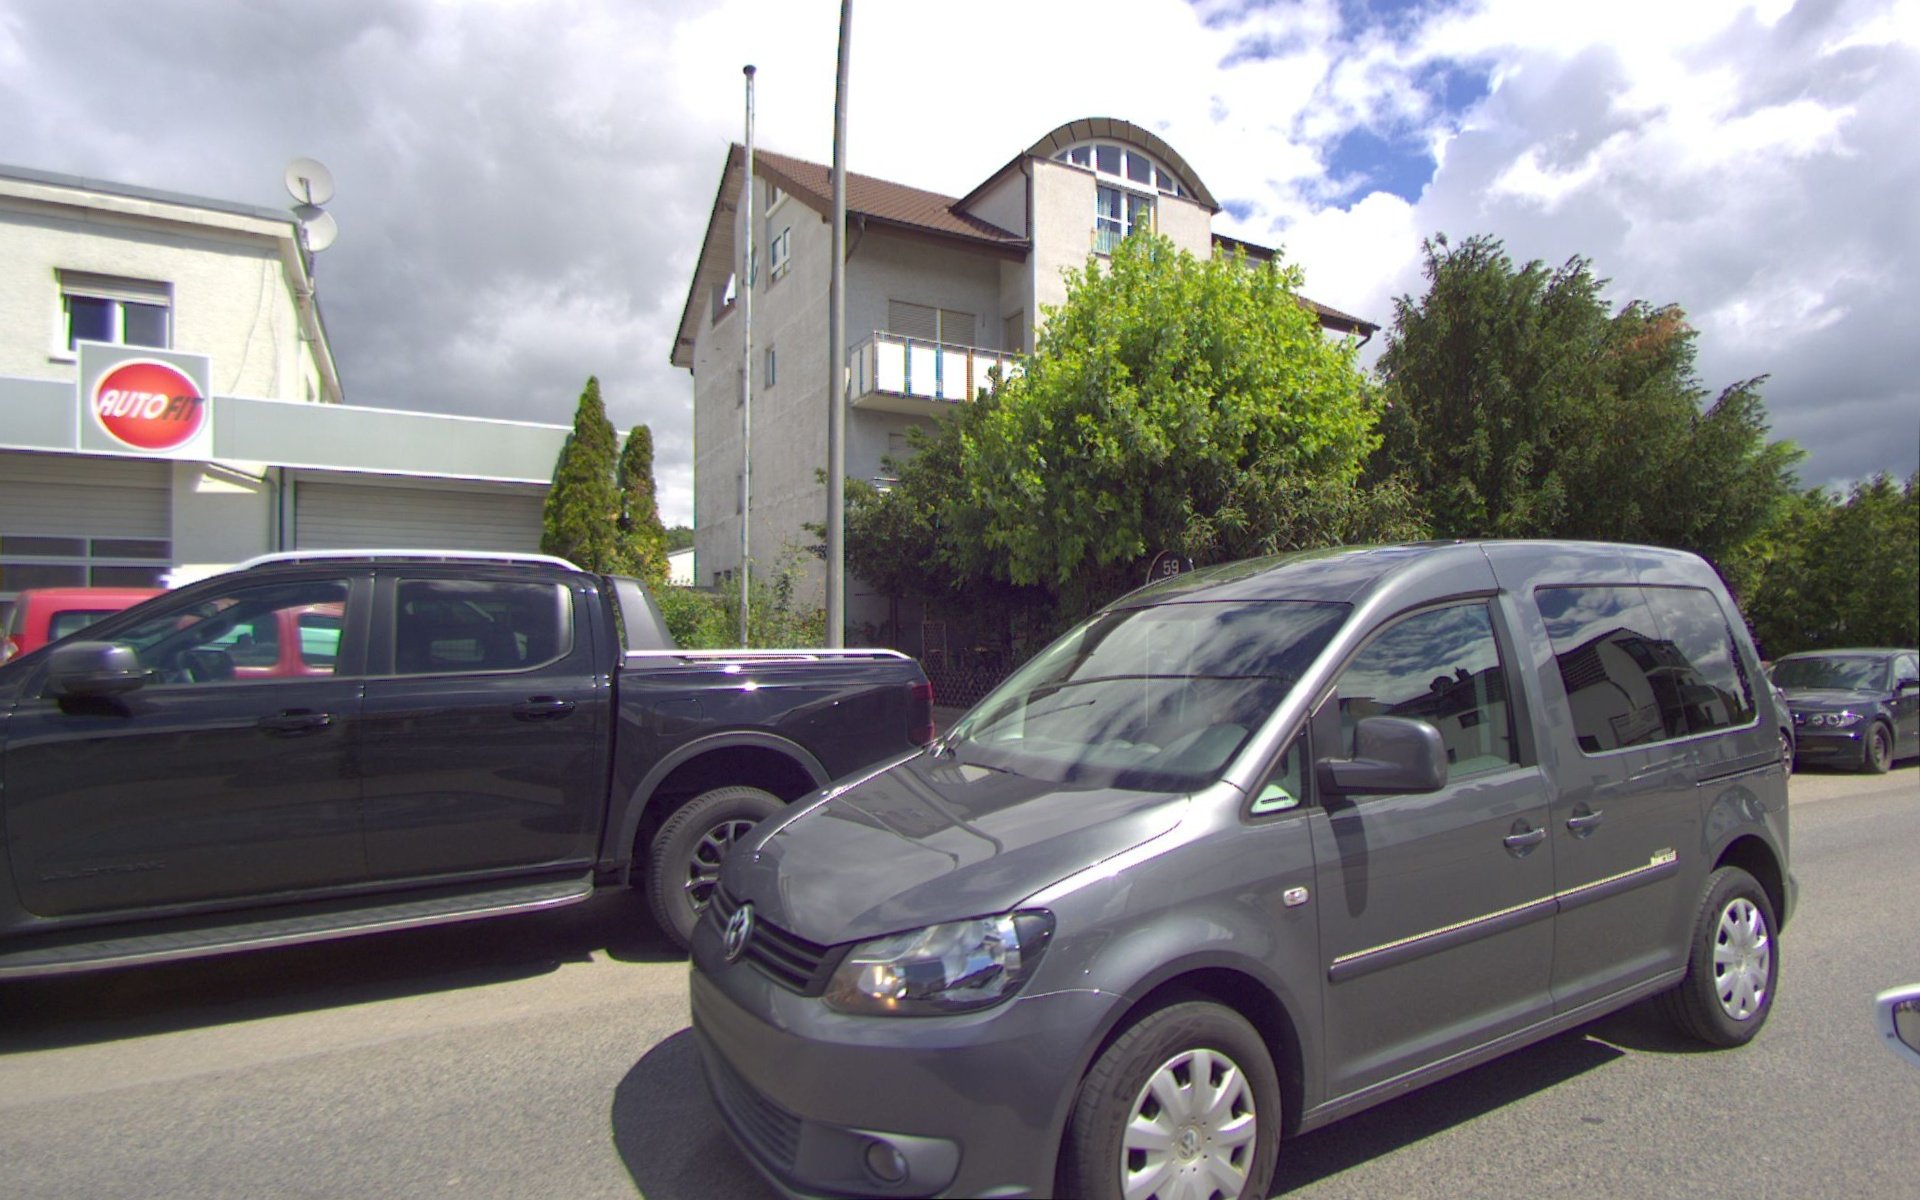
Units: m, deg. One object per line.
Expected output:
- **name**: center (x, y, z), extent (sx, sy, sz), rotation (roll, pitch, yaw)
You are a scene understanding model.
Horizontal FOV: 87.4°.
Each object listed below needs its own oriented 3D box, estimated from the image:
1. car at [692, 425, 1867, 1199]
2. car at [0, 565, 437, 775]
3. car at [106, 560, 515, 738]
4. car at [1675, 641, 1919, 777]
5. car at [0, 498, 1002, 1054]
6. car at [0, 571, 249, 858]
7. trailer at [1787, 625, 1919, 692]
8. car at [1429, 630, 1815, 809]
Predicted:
- **car**: center (1.376, 0.660, 3.680), extent (4.288, 1.819, 1.655), rotation (1, -3, -31)
- **car**: center (-7.907, 0.629, 10.190), extent (4.303, 1.809, 1.777), rotation (3, 0, -40)
- **car**: center (-8.571, 0.634, 13.519), extent (4.309, 2.006, 1.858), rotation (3, -2, -44)
- **car**: center (11.009, 1.267, 12.580), extent (4.286, 1.454, 1.656), rotation (1, -4, -30)
- **car**: center (-2.586, 0.684, 4.805), extent (5.364, 1.844, 1.903), rotation (1, -5, -30)
- **car**: center (-7.394, 0.710, 6.559), extent (4.287, 1.809, 1.784), rotation (1, -1, -30)
- **trailer**: center (38.905, 2.458, 41.867), extent (2.699, 2.686, 6.216), rotation (1, -4, -29)
- **car**: center (6.818, 1.120, 10.287), extent (3.897, 1.530, 1.656), rotation (1, -5, -30)
